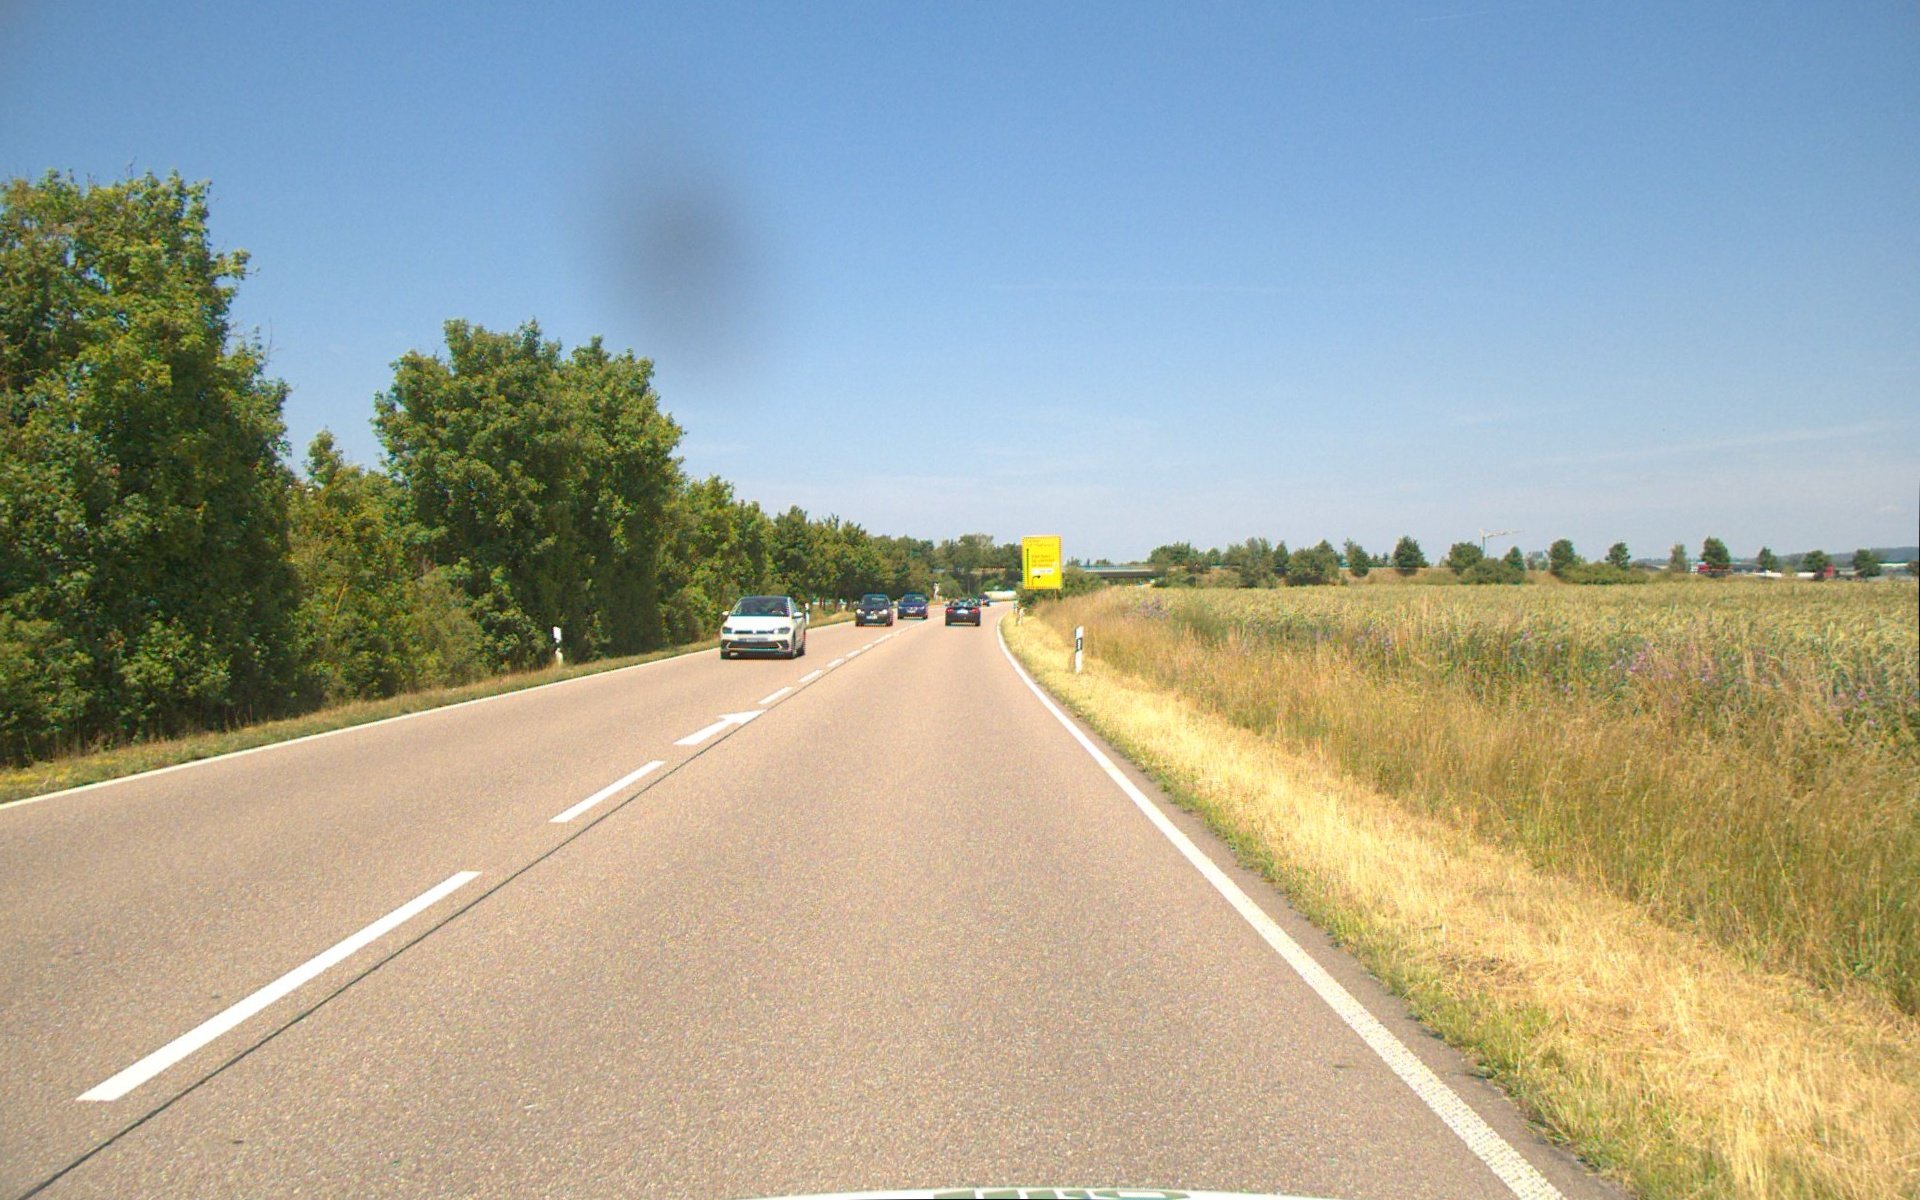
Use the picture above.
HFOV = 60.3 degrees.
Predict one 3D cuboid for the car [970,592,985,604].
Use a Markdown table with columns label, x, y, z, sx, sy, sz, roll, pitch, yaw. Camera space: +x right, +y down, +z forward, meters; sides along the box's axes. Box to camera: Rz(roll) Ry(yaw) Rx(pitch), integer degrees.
| label | x | y | z | sx | sy | sz | roll | pitch | yaw |
| --- | --- | --- | --- | --- | --- | --- | --- | --- | --- |
| car | 2.135 | -0.212 | 199.980 | 1.744 | 1.445 | 4.535 | 1 | 0 | 2 |

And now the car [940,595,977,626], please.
| label | x | y | z | sx | sy | sz | roll | pitch | yaw |
| --- | --- | --- | --- | --- | --- | --- | --- | --- | --- |
| car | -0.050 | 0.495 | 81.978 | 1.777 | 1.466 | 4.000 | 1 | 0 | 1 |

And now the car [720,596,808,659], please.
| label | x | y | z | sx | sy | sz | roll | pitch | yaw |
| --- | --- | --- | --- | --- | --- | --- | --- | --- | --- |
| car | -4.618 | 0.618 | 39.420 | 1.672 | 1.405 | 3.819 | 1 | 0 | -1 |

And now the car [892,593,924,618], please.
| label | x | y | z | sx | sy | sz | roll | pitch | yaw |
| --- | --- | --- | --- | --- | --- | --- | --- | --- | --- |
| car | -3.140 | 0.314 | 100.559 | 1.618 | 1.431 | 4.001 | 1 | 0 | 2 |

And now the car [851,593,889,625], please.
| label | x | y | z | sx | sy | sz | roll | pitch | yaw |
| --- | --- | --- | --- | --- | --- | --- | --- | --- | --- |
| car | -4.228 | 0.399 | 78.153 | 1.565 | 1.467 | 4.000 | 0 | 0 | 0 |
